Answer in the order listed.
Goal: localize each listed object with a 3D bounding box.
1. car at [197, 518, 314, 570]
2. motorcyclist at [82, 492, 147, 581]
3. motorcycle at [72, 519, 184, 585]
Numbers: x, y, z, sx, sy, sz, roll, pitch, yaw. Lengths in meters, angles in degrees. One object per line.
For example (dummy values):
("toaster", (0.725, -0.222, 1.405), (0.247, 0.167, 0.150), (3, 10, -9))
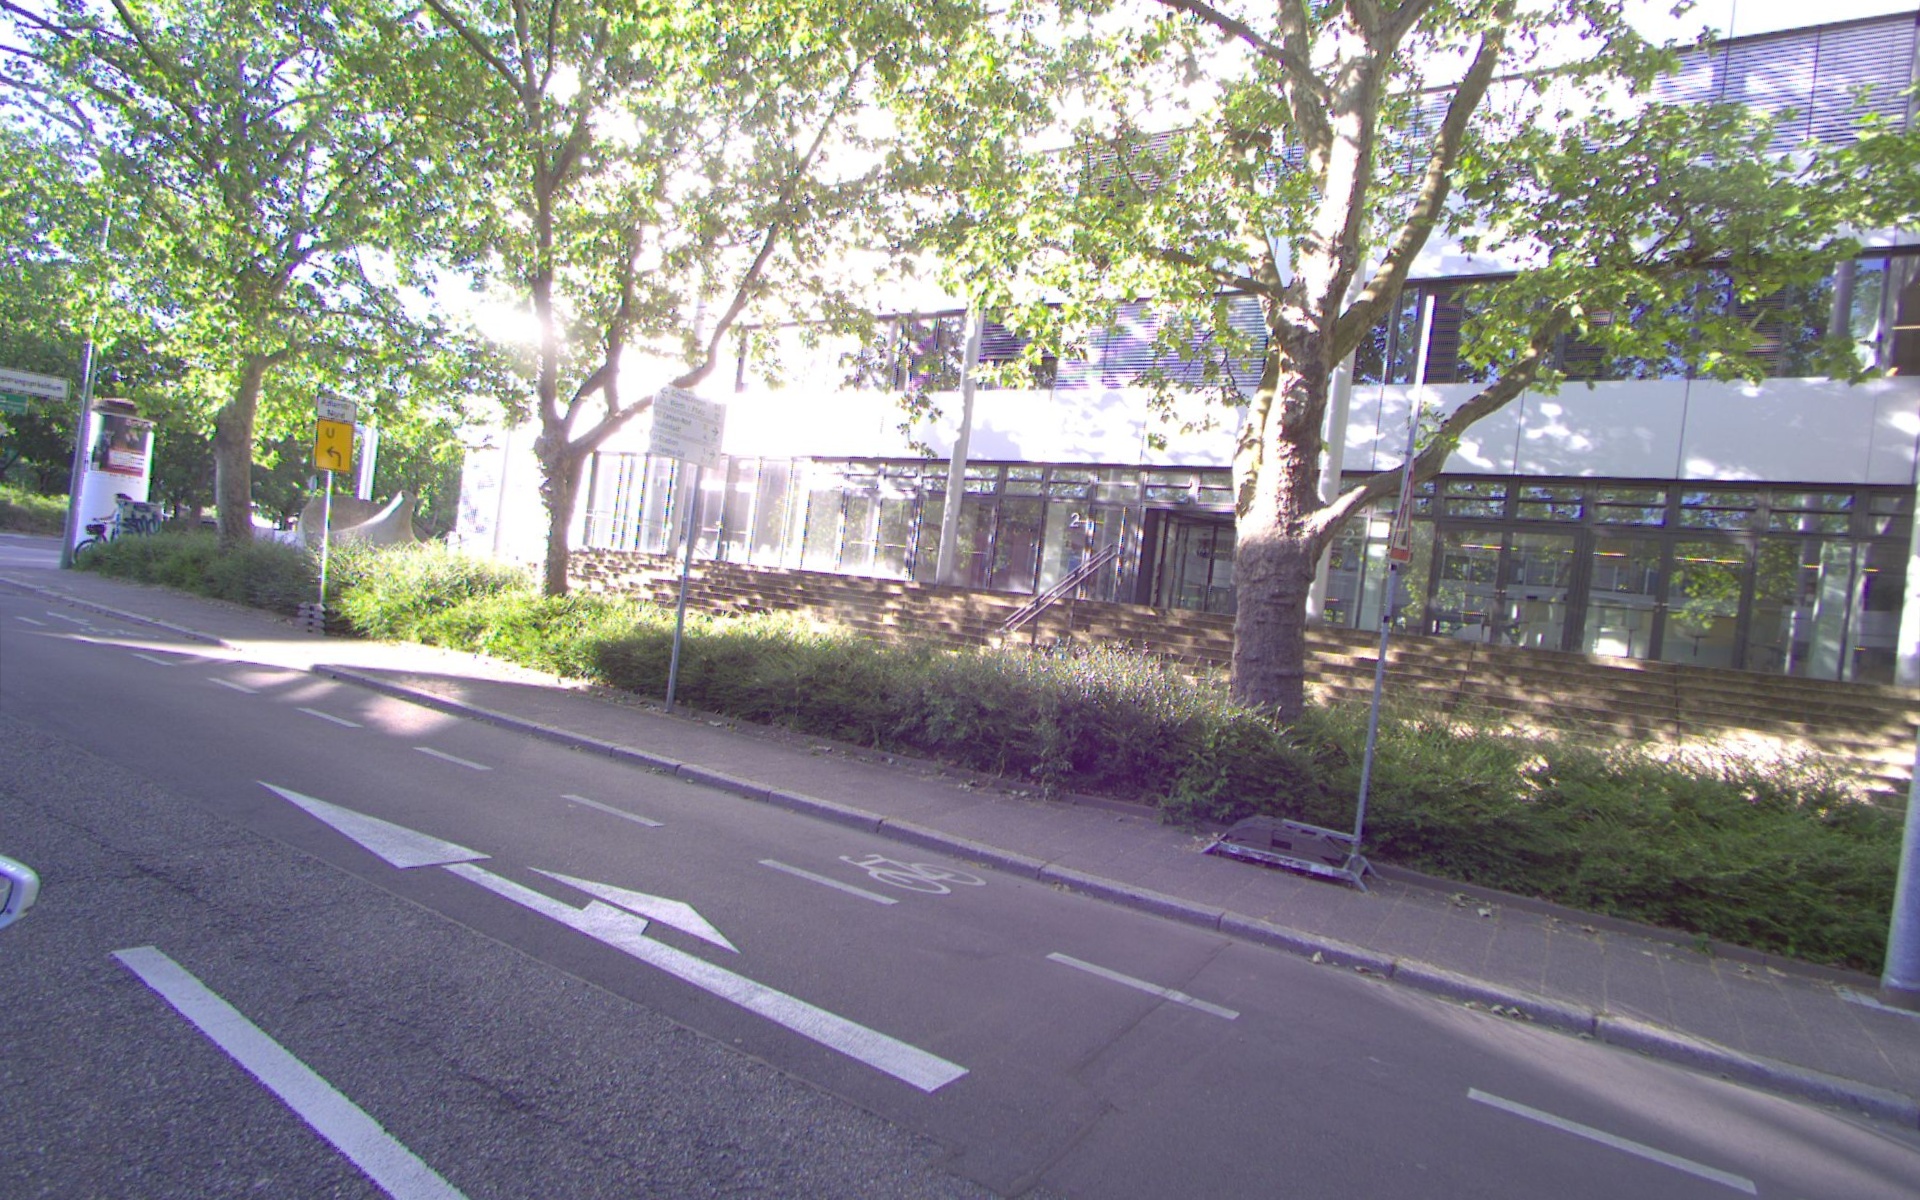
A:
("car", (-32.697, -2.565, 46.818), (1.708, 1.792, 3.996), (7, -1, 30))
("motorcyclist", (-19.349, -1.448, 23.029), (0.662, 1.885, 0.823), (6, -1, 37))
("motorcycle", (-19.222, -1.093, 23.277), (0.712, 1.257, 1.782), (6, -2, 37))
